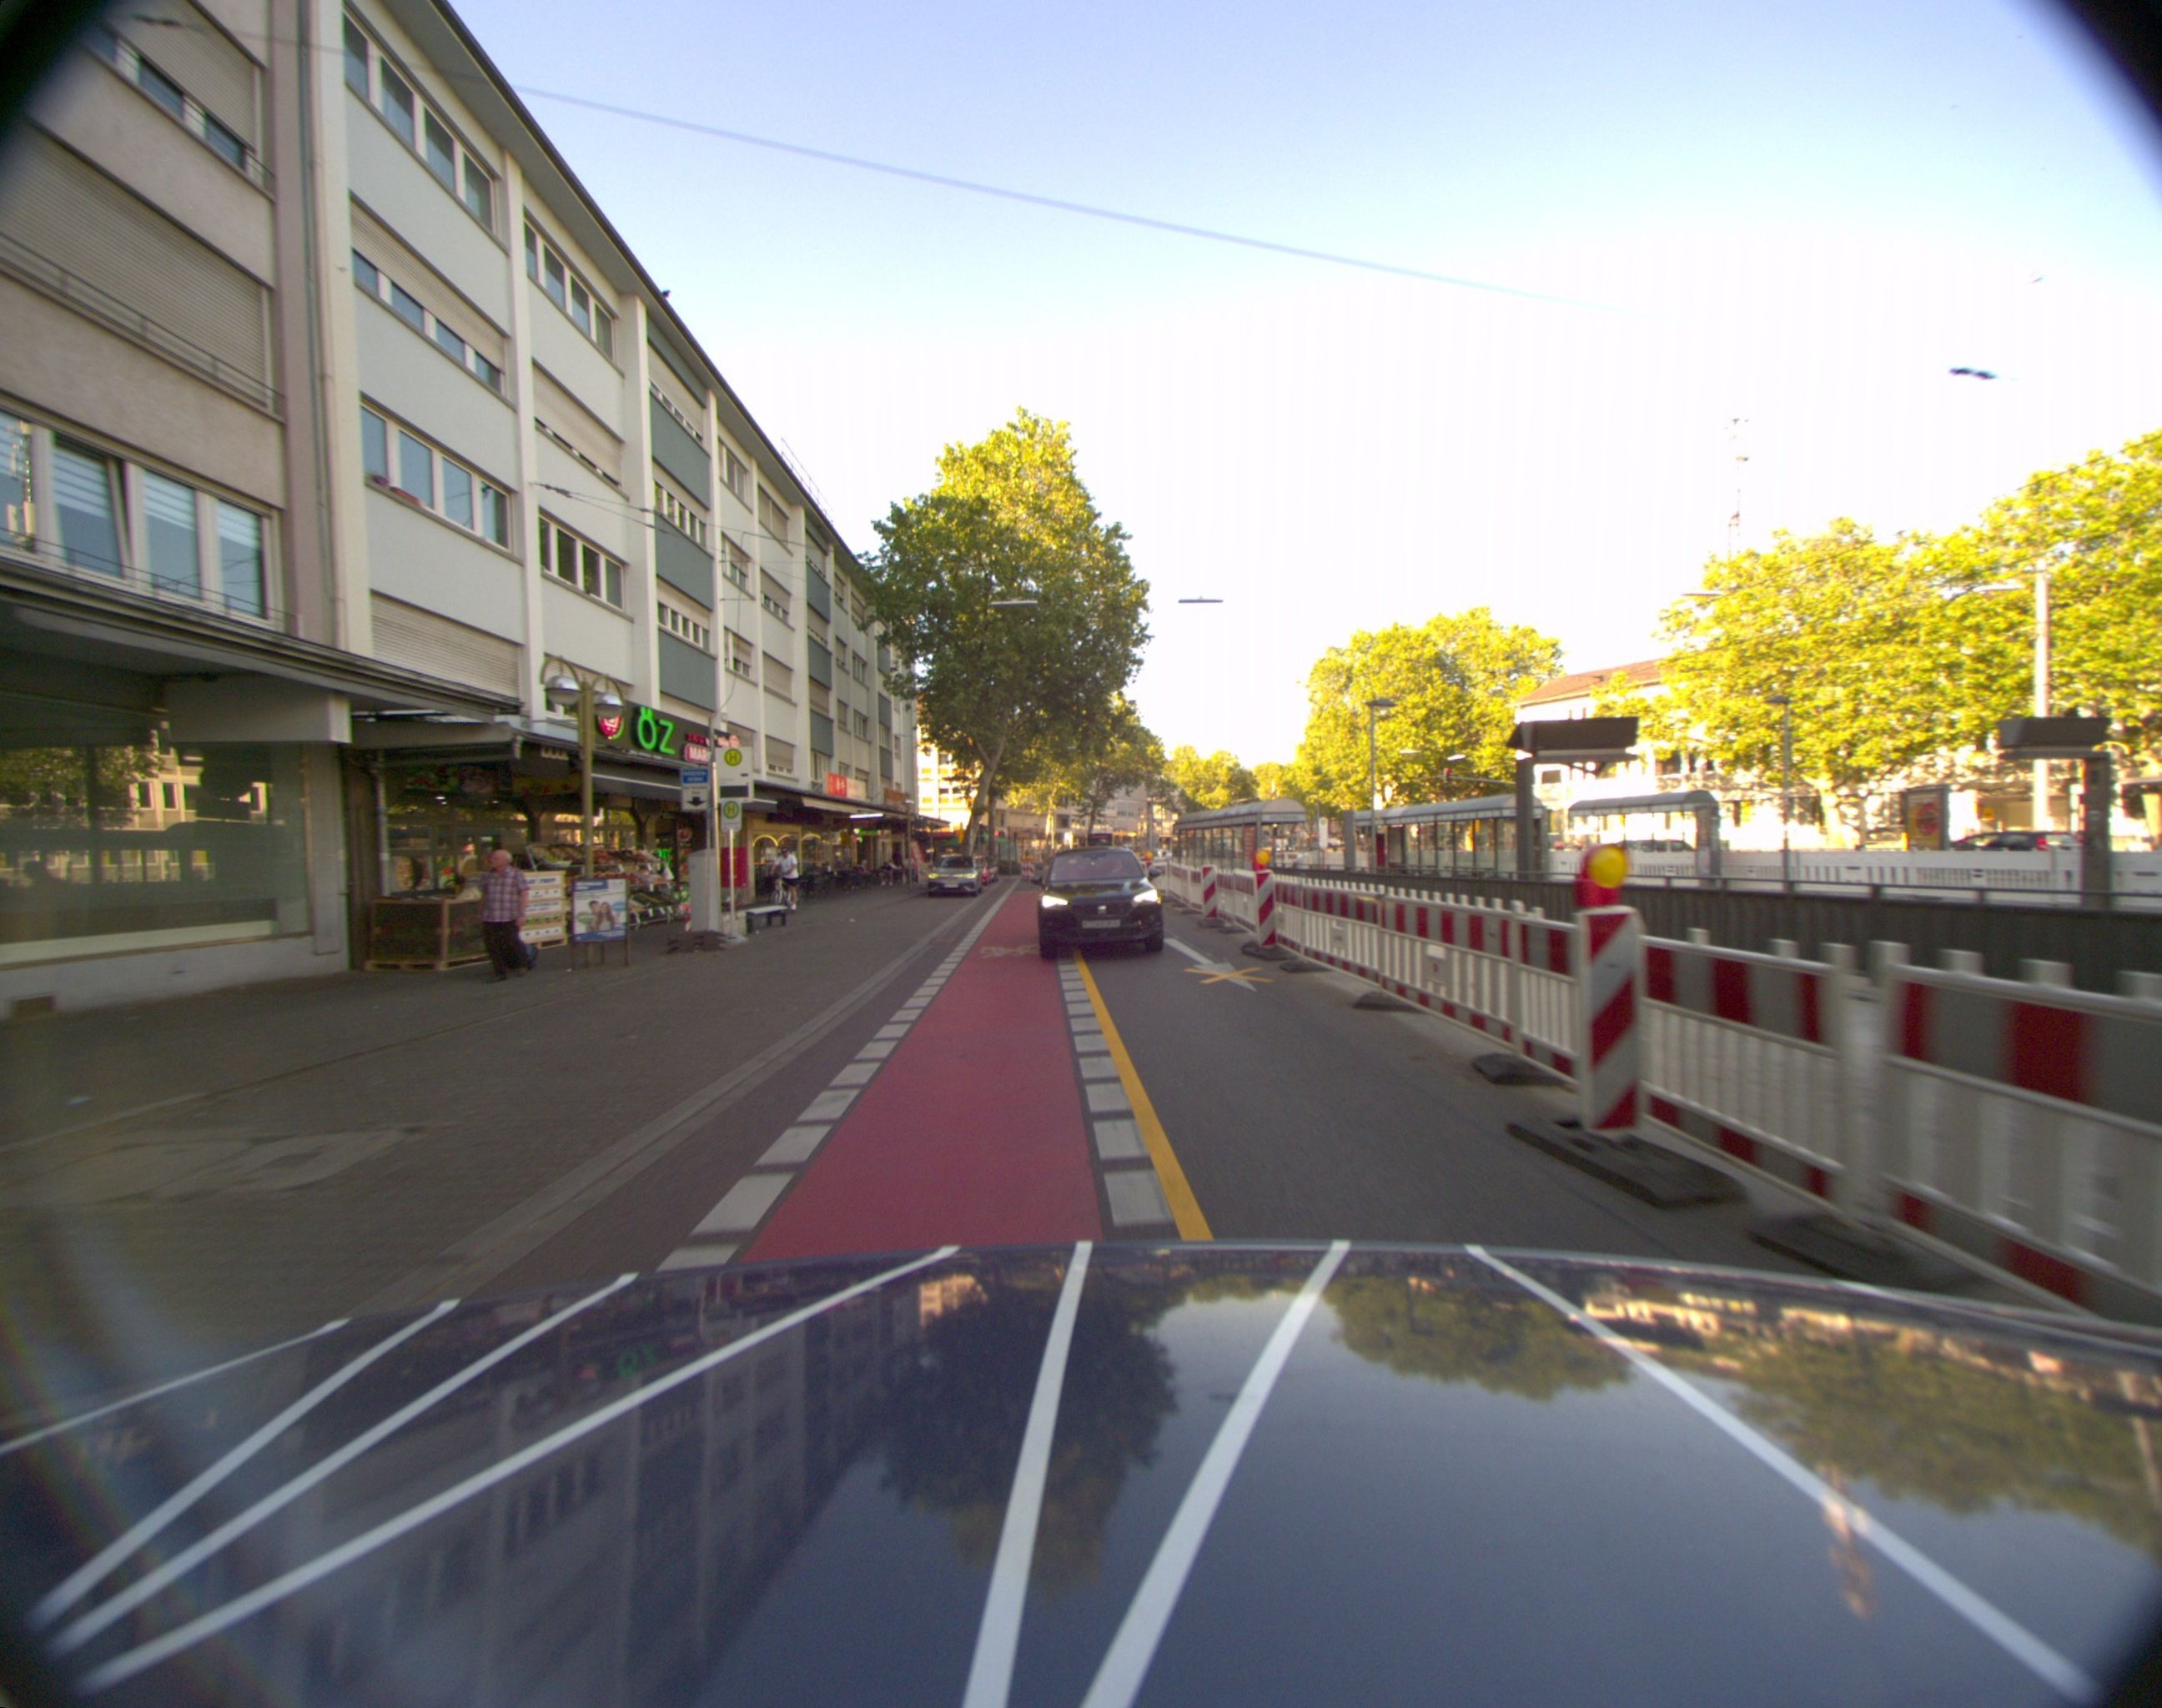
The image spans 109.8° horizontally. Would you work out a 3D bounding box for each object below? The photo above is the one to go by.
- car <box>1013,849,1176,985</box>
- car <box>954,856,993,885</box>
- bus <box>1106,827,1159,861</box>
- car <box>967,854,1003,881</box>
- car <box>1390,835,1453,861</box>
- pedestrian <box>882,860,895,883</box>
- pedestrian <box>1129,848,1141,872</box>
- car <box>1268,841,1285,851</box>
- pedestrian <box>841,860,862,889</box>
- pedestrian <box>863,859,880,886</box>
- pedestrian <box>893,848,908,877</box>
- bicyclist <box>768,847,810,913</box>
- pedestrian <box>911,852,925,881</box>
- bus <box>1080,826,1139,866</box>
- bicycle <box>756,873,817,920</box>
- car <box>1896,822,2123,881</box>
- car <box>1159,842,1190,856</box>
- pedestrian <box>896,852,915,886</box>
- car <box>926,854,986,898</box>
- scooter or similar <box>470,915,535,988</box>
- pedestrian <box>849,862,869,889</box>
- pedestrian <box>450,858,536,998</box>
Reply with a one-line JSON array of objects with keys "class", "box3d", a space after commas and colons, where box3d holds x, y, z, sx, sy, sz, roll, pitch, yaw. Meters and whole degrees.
[{"class": "car", "box3d": [0.233, 0.798, 11.785, 1.998, 1.638, 4.204, -3, 1, 2]}, {"class": "car", "box3d": [-5.587, 0.832, 39.835, 1.735, 1.434, 3.982, 0, 0, -4]}, {"class": "bus", "box3d": [5.646, -1.035, 80.342, 2.735, 3.188, 12.375, -3, 0, 16]}, {"class": "car", "box3d": [-5.553, 0.768, 44.269, 1.659, 1.471, 3.800, 0, 0, -1]}, {"class": "car", "box3d": [22.000, -0.366, 49.199, 1.685, 1.565, 3.384, -2, 1, -25]}, {"class": "pedestrian", "box3d": [-9.577, 0.880, 37.737, 0.520, 1.127, 0.507, -1, 1, -23]}, {"class": "pedestrian", "box3d": [3.474, 0.369, 48.866, 0.623, 1.551, 0.471, -2, 1, -2]}, {"class": "car", "box3d": [33.363, -1.444, 129.379, 1.702, 1.578, 3.713, -1, 1, 33]}, {"class": "pedestrian", "box3d": [-9.872, 0.884, 32.743, 0.677, 1.220, 0.710, -1, 1, 1]}, {"class": "pedestrian", "box3d": [-9.839, 0.853, 35.667, 0.646, 1.258, 0.606, -1, 1, -2]}, {"class": "pedestrian", "box3d": [-10.827, 0.529, 45.508, 0.710, 1.699, 0.678, -2, 1, -3]}, {"class": "bicyclist", "box3d": [-7.650, 0.669, 19.939, 0.771, 1.699, 0.829, 1, 1, -2]}, {"class": "pedestrian", "box3d": [-8.554, 0.651, 39.881, 0.584, 1.551, 0.642, 0, 1, 0]}, {"class": "bus", "box3d": [2.847, -0.771, 69.939, 2.735, 3.188, 12.319, -3, 0, 14]}, {"class": "bicycle", "box3d": [-7.664, 1.077, 19.875, 0.778, 1.097, 2.266, 1, 1, -2]}, {"class": "car", "box3d": [27.302, -0.079, 22.581, 1.810, 1.557, 3.968, -2, 1, -4]}, {"class": "car", "box3d": [11.792, -0.642, 95.548, 1.994, 1.586, 4.570, -1, 0, 34]}, {"class": "pedestrian", "box3d": [-8.236, 0.719, 35.669, 0.710, 1.576, 0.678, 0, 1, -3]}, {"class": "car", "box3d": [-4.856, 0.809, 30.186, 1.923, 1.588, 4.789, 0, 0, -4]}, {"class": "scooter or similar", "box3d": [-7.653, 1.272, 10.083, 0.578, 0.839, 0.732, -2, 1, -31]}, {"class": "pedestrian", "box3d": [-9.835, 0.956, 33.750, 0.677, 1.170, 0.710, -1, 1, -2]}, {"class": "pedestrian", "box3d": [-7.344, 0.890, 9.518, 0.648, 1.664, 0.555, -2, 1, -19]}]
